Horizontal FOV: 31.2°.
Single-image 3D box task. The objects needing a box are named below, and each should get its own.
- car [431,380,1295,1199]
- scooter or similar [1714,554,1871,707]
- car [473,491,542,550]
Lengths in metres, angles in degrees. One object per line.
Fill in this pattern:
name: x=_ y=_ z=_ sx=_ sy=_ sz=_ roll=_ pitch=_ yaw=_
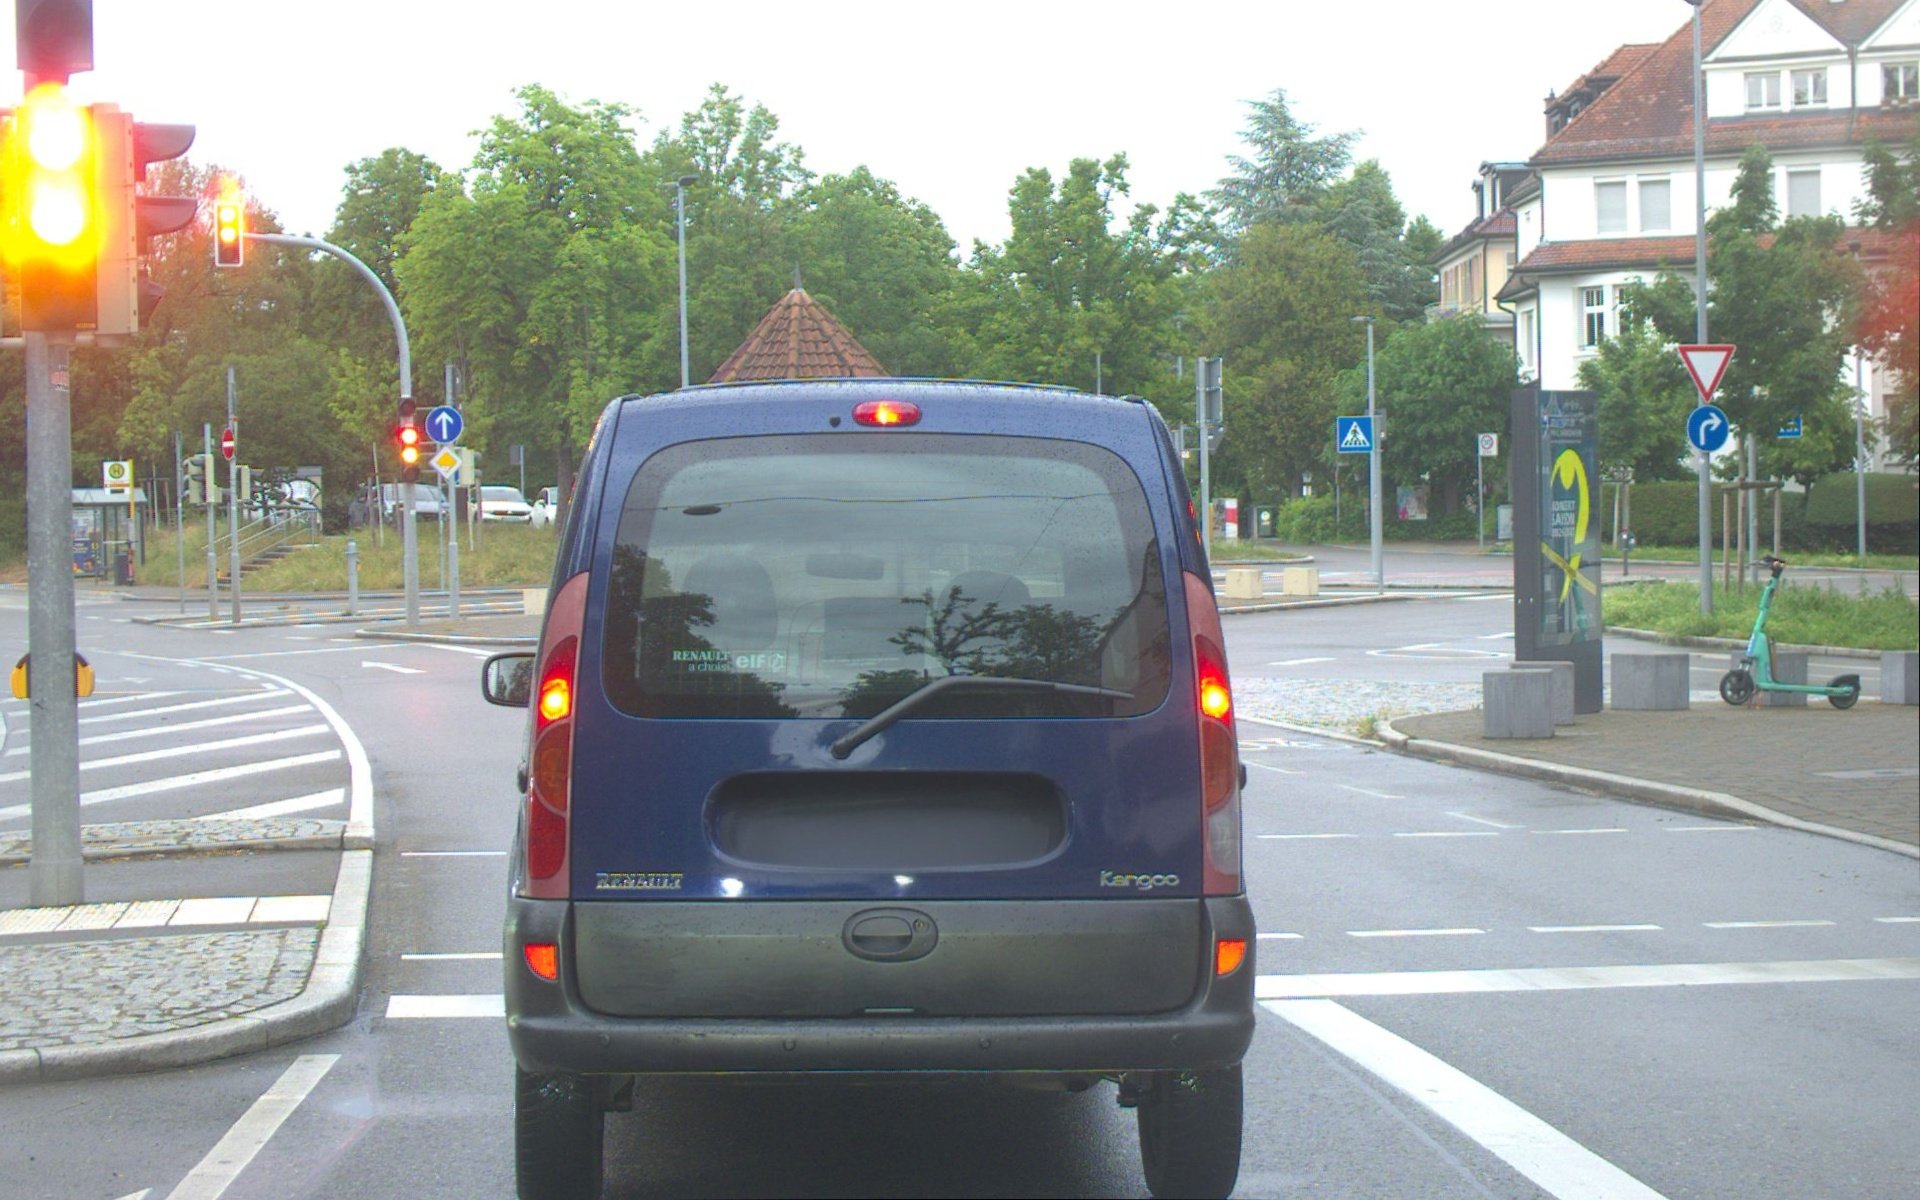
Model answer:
car: x=-0.275 y=0.406 z=8.909 sx=1.731 sy=1.780 sz=4.001 roll=0 pitch=1 yaw=-2
scooter or similar: x=6.721 y=0.244 z=27.768 sx=1.149 sy=1.215 sz=0.406 roll=-1 pitch=0 yaw=-1
car: x=-14.438 y=-2.529 z=109.849 sx=1.993 sy=1.806 sz=4.001 roll=0 pitch=0 yaw=-5
